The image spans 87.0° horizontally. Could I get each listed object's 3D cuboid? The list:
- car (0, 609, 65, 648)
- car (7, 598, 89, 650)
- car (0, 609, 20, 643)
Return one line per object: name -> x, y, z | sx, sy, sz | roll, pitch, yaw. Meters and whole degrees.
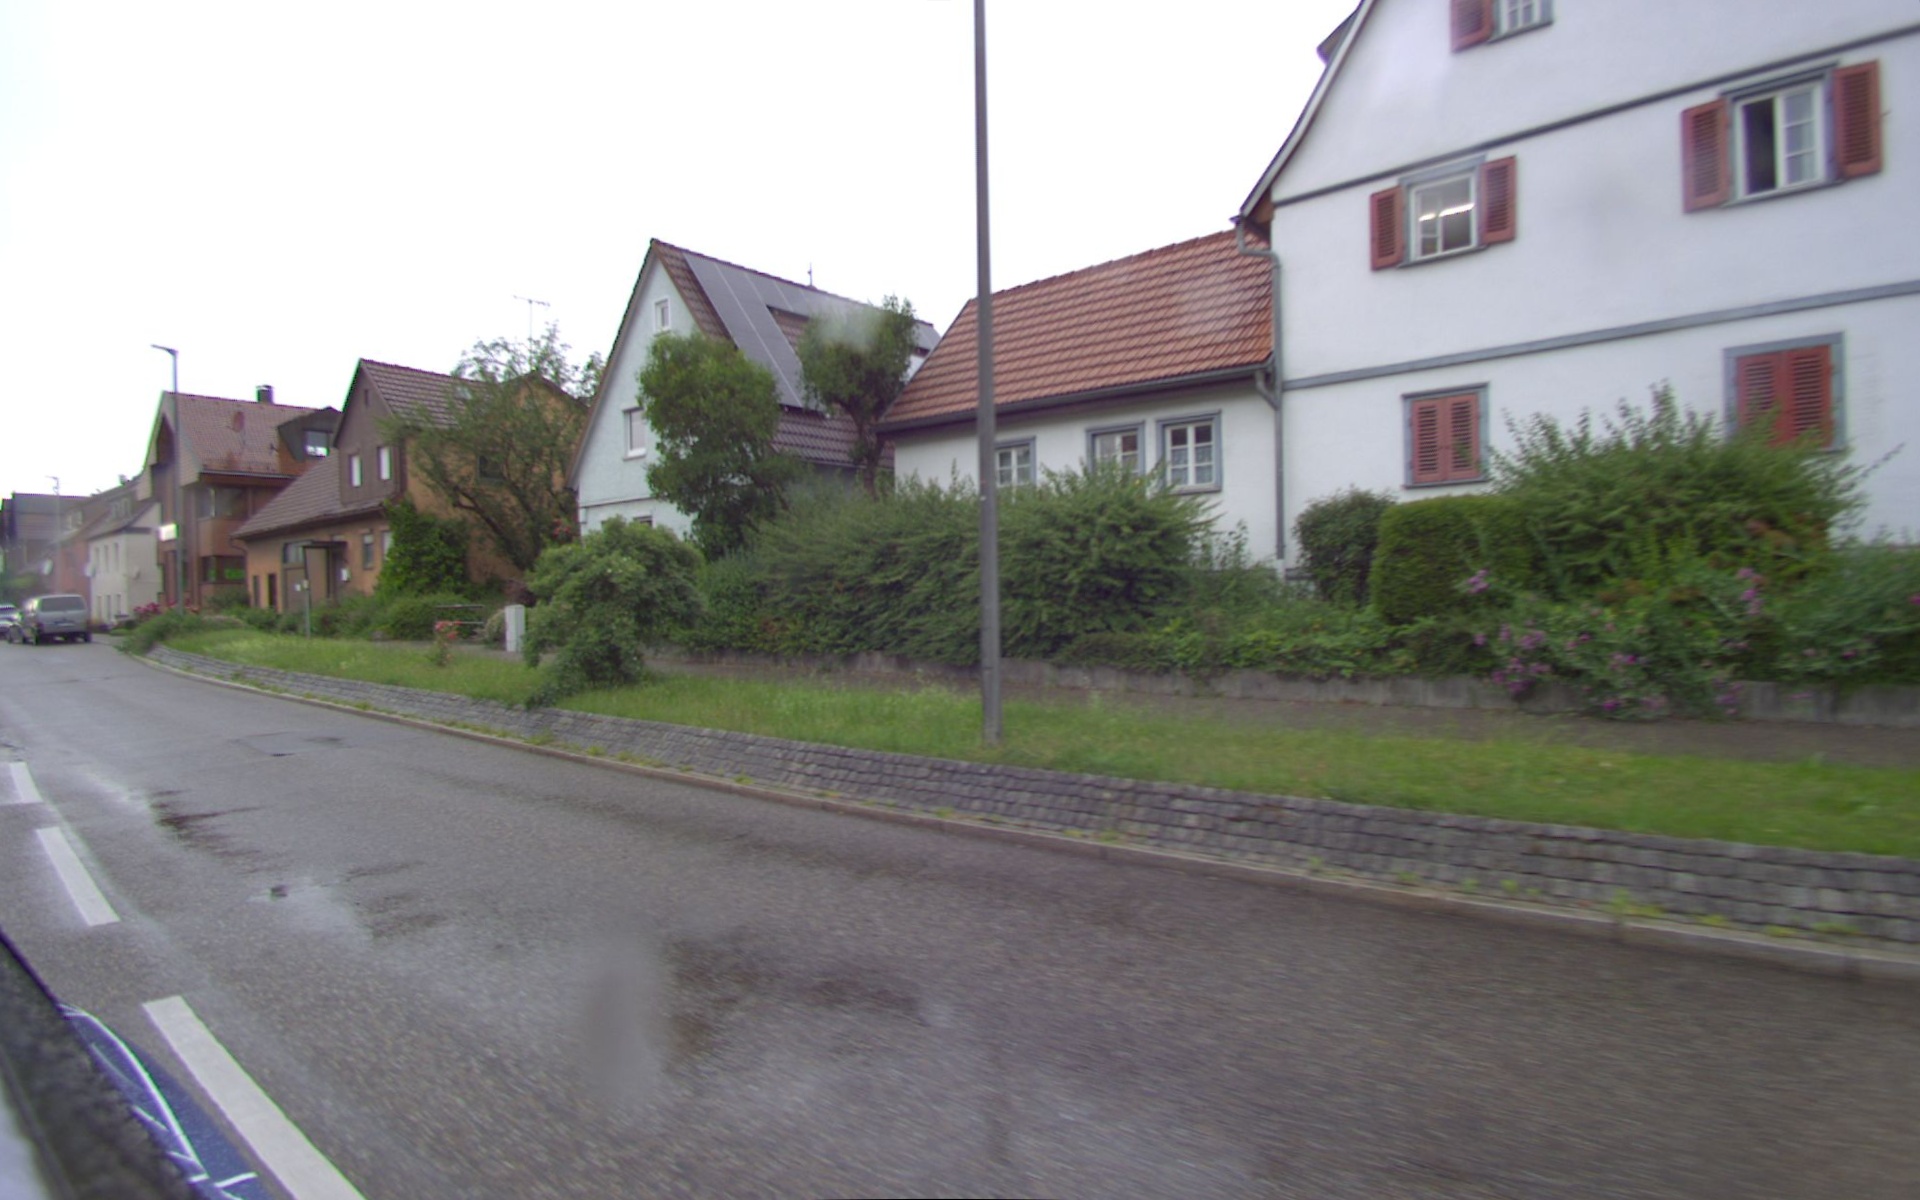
car -> -41.078, 1.234, 44.656 | 3.661, 1.586, 1.789 | -1, 0, 40
car -> -37.322, 0.954, 41.395 | 4.186, 1.937, 1.823 | -1, 2, 40
car -> -48.596, 1.321, 50.361 | 3.990, 1.634, 1.792 | -1, 0, 34
